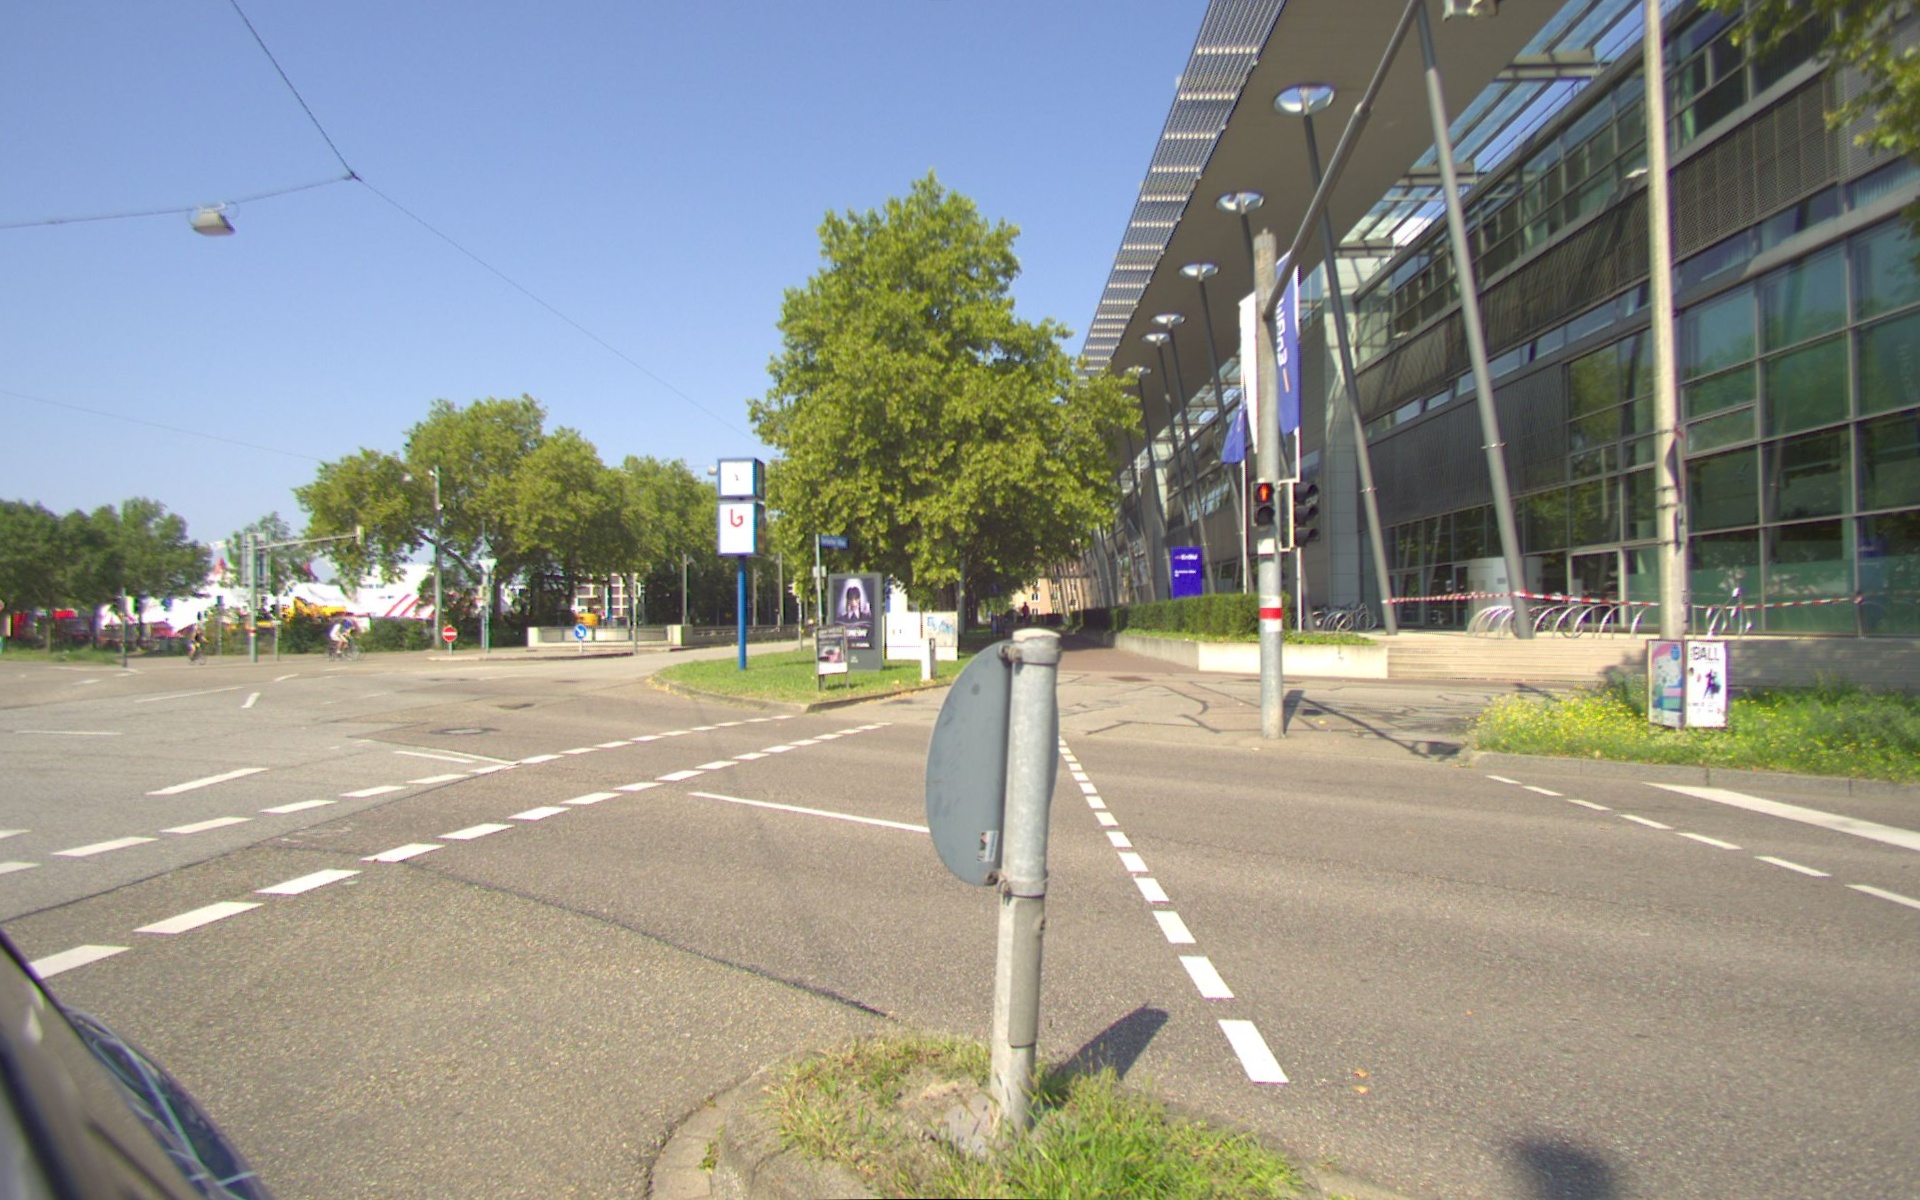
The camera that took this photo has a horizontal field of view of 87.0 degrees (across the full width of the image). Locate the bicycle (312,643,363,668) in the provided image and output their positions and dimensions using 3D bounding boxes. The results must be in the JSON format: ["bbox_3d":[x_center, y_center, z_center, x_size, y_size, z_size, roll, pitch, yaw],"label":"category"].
[{"bbox_3d":[-29.114,2.615,47.324,2.245,1.096,0.768,-3,-4,20],"label":"bicycle"}]

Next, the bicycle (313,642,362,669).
[{"bbox_3d":[-27.572,2.444,44.831,2.208,1.096,0.766,-4,-2,27],"label":"bicycle"}]

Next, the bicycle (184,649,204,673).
[{"bbox_3d":[-35.531,2.817,46.946,0.563,1.064,1.498,-2,-2,-32],"label":"bicycle"}]

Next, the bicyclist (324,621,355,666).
[{"bbox_3d":[-28.985,2.018,47.279,1.196,2.029,0.594,-4,-2,21],"label":"bicyclist"}]

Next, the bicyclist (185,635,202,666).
[{"bbox_3d":[-35.545,2.340,46.922,0.494,1.375,0.698,-3,-2,-31],"label":"bicyclist"}]

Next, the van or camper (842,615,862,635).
[{"bbox_3d":[-11.291,2.587,106.272,1.819,1.962,4.951,2,0,-3],"label":"van or camper"}]

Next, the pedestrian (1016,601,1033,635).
[{"bbox_3d":[4.033,1.144,63.603,0.936,2.029,1.347,-4,-2,3],"label":"pedestrian"}]

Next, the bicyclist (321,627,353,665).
[{"bbox_3d":[-27.615,2.026,44.865,1.198,1.606,0.593,-4,-2,26],"label":"bicyclist"}]
